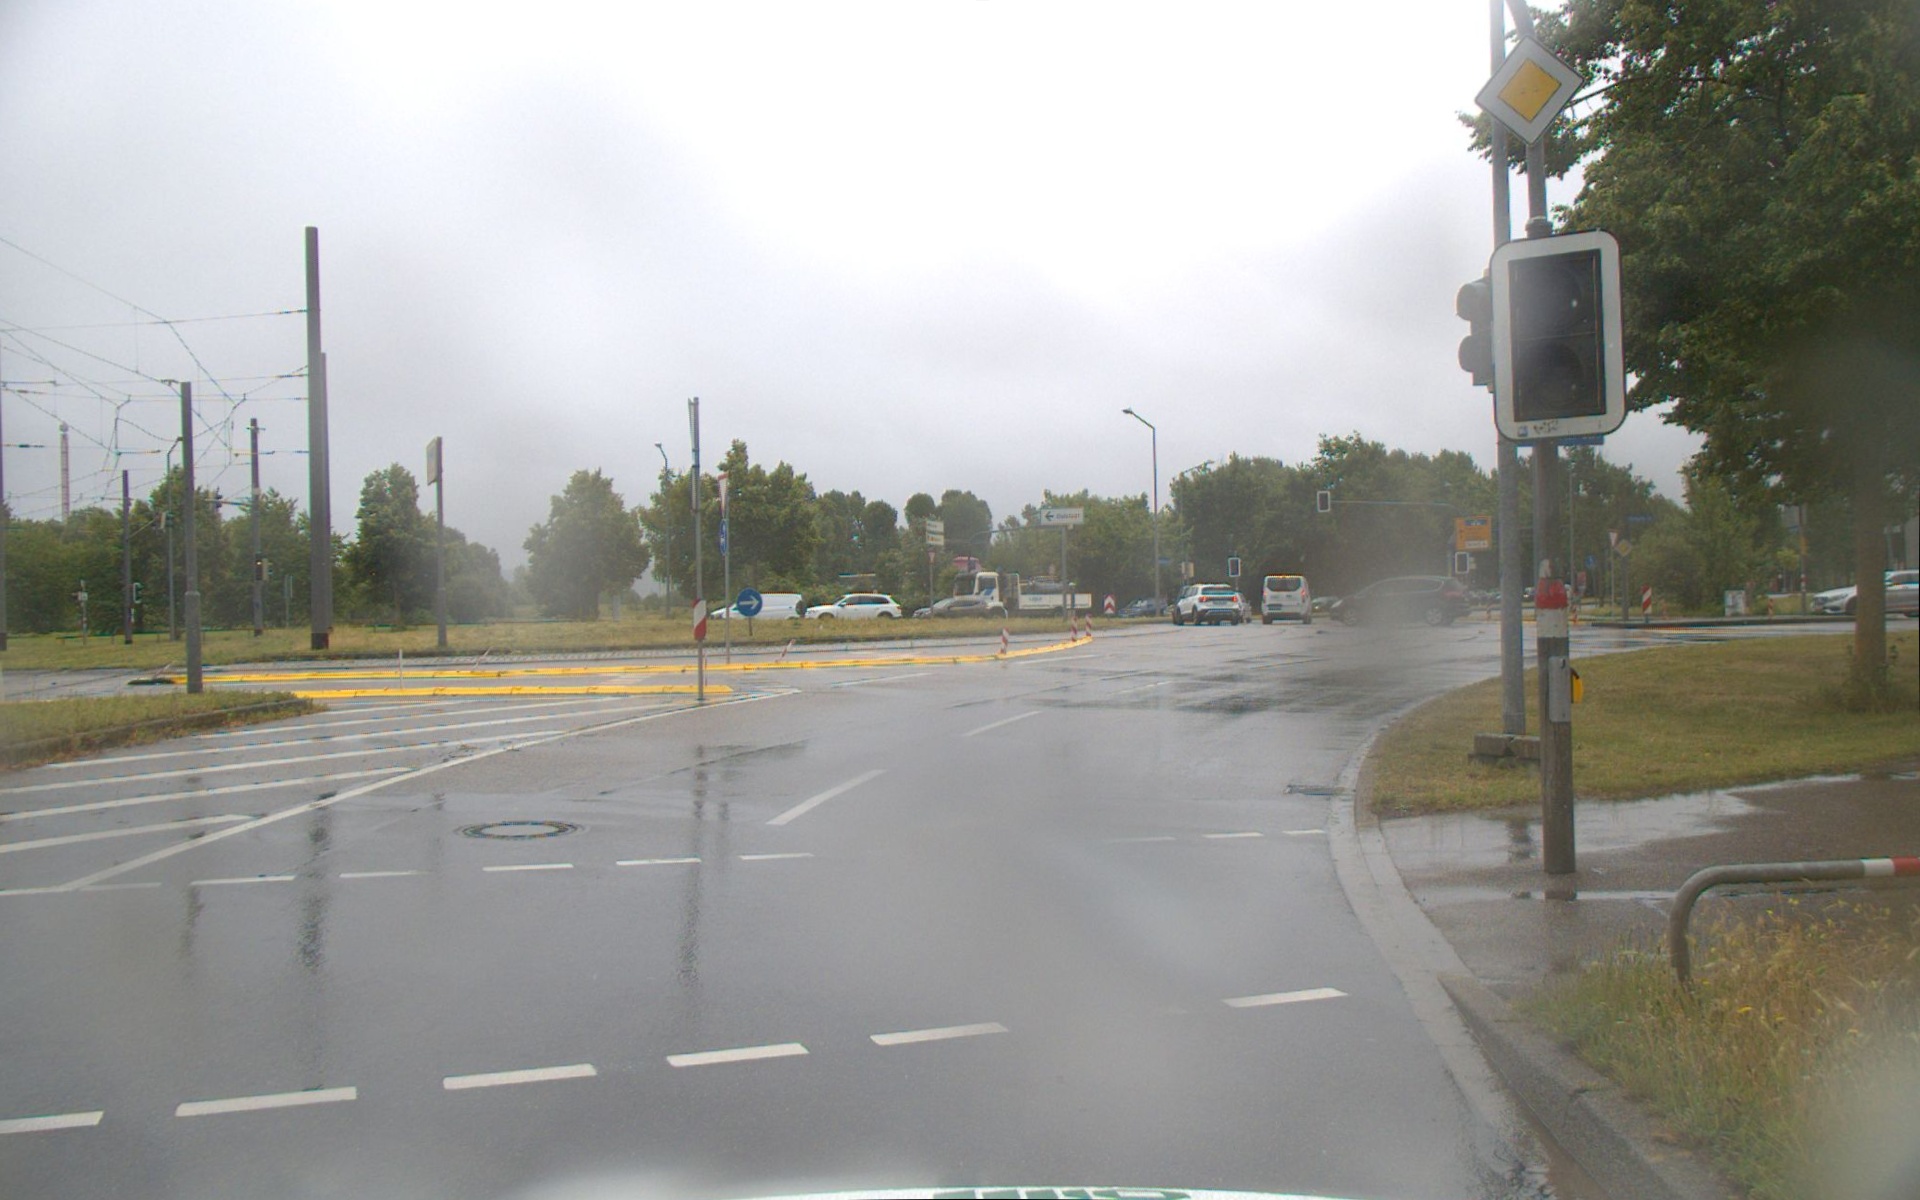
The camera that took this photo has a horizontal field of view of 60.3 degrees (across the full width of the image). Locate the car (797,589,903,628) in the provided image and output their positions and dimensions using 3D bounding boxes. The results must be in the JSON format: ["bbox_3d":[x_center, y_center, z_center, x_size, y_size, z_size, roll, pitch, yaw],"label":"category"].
[{"bbox_3d":[-5.286,0.423,79.681,4.781,1.774,1.767,1,0,-21],"label":"car"}]

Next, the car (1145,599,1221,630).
[{"bbox_3d":[13.422,0.882,99.429,4.821,1.774,1.752,1,0,-41],"label":"car"}]

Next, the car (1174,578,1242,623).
[{"bbox_3d":[9.705,0.024,64.948,1.648,1.676,3.941,1,0,-7],"label":"car"}]

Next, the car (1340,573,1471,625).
[{"bbox_3d":[15.082,-0.036,56.024,3.915,1.676,1.784,1,0,32],"label":"car"}]

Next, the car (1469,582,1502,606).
[{"bbox_3d":[45.970,-0.507,144.668,1.758,2.049,3.659,1,0,36],"label":"car"}]

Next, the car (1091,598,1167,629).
[{"bbox_3d":[10.212,0.829,99.964,4.821,1.774,1.752,1,0,-41],"label":"car"}]

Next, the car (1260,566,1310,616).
[{"bbox_3d":[14.003,-0.376,71.116,1.745,2.072,4.002,1,0,16],"label":"car"}]

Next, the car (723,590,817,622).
[{"bbox_3d":[-9.474,0.319,82.545,4.461,1.518,1.604,1,0,-17],"label":"car"}]

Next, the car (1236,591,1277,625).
[{"bbox_3d":[13.876,0.368,77.280,1.653,1.518,3.253,1,0,14],"label":"car"}]

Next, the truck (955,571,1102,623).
[{"bbox_3d":[3.938,-0.130,93.596,8.680,2.759,1.979,1,-1,-31],"label":"truck"}]

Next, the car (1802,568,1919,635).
[{"bbox_3d":[29.431,0.003,52.251,4.724,1.842,1.789,-3,1,-1],"label":"car"}]

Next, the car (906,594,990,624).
[{"bbox_3d":[-0.631,0.479,86.362,4.089,1.518,1.597,1,0,-27],"label":"car"}]

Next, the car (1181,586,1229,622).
[{"bbox_3d":[10.758,0.164,72.468,1.653,1.518,3.253,1,0,16],"label":"car"}]
